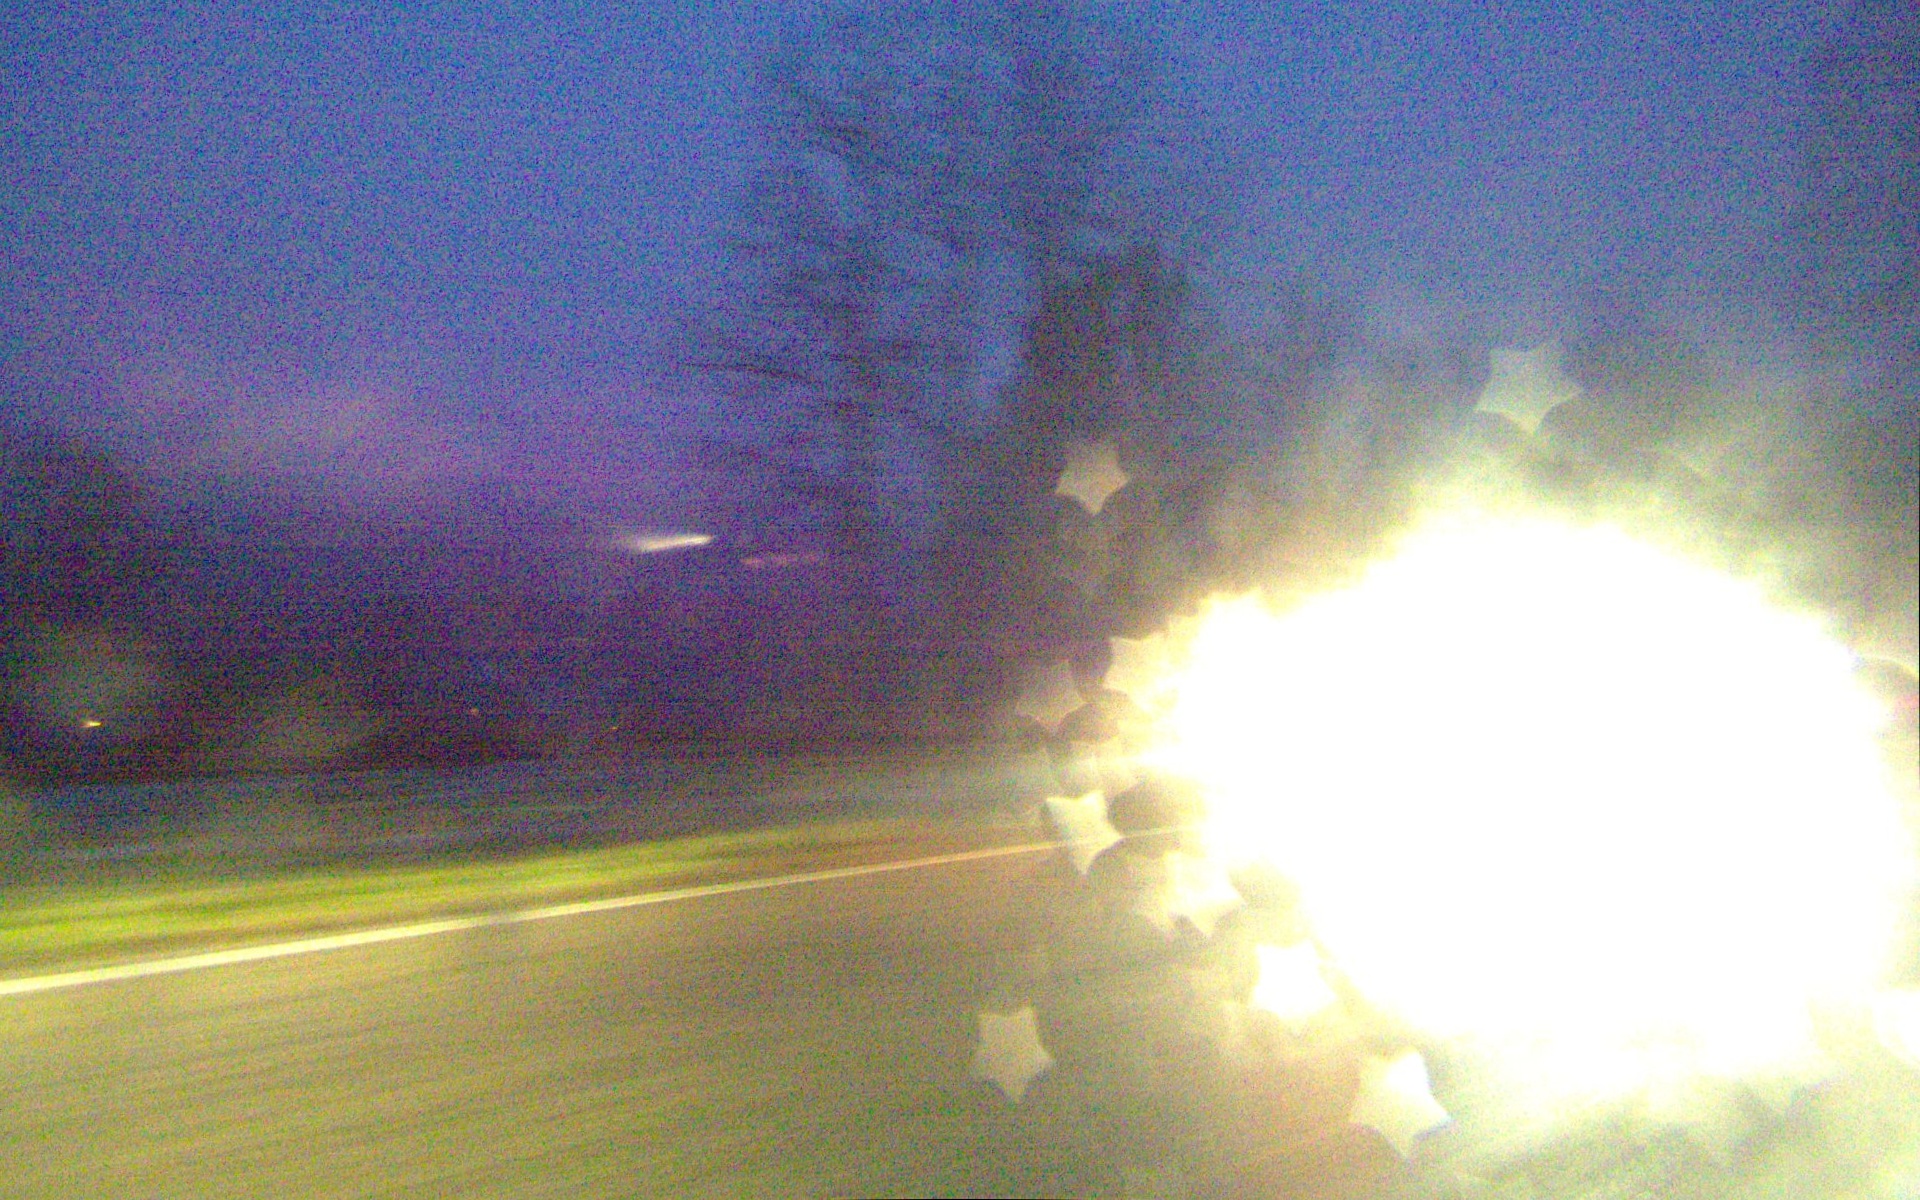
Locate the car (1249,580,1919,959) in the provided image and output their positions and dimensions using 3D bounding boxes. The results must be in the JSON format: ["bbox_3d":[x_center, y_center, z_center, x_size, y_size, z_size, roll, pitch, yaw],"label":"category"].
[{"bbox_3d":[3.832,0.724,5.946,4.099,1.563,1.757,1,-1,-30],"label":"car"}]
